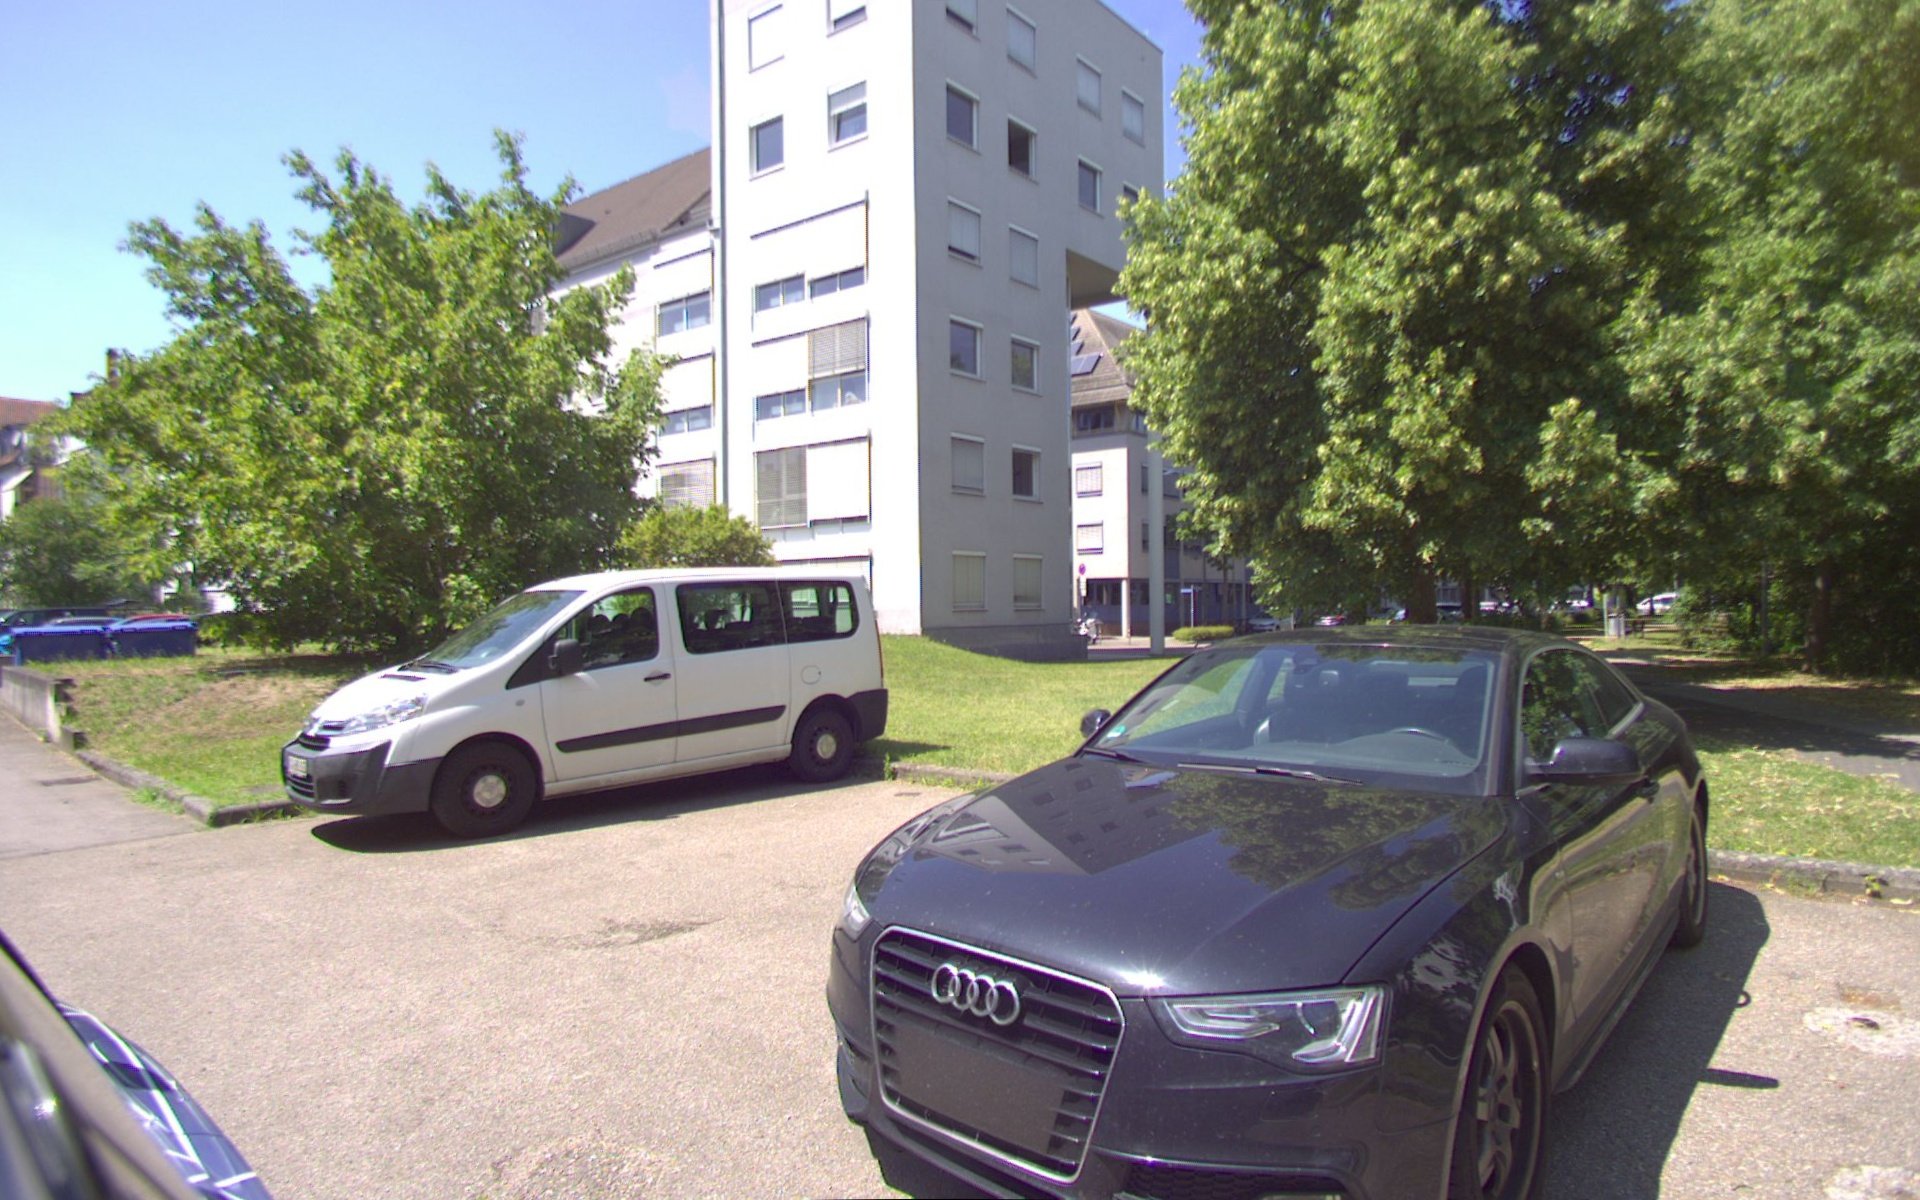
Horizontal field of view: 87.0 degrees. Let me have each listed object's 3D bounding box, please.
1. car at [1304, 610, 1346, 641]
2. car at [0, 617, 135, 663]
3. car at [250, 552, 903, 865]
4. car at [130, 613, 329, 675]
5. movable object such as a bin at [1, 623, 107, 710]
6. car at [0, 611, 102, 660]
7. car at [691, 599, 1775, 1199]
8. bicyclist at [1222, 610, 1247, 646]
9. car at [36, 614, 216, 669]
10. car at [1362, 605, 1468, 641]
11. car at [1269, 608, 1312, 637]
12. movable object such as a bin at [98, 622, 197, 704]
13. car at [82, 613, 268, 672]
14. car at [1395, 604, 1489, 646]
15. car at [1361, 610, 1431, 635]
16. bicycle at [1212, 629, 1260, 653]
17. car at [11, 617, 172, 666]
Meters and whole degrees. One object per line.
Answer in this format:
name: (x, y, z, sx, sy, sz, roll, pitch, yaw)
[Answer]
car: (20.423, 1.415, 56.616, 1.799, 1.615, 3.859, 0, 0, 26)
car: (-33.981, 1.476, 38.168, 1.610, 1.580, 4.173, 0, 0, 36)
car: (-2.929, 0.652, 8.601, 2.068, 1.897, 4.794, 0, 0, 44)
car: (-20.976, 1.203, 29.228, 1.610, 1.580, 4.392, 0, 0, 36)
movable object such as a bin: (-15.664, 1.120, 17.502, 1.095, 1.399, 1.255, 0, 0, 42)
car: (-36.574, 1.360, 39.663, 2.006, 1.837, 4.173, 0, 0, 36)
car: (1.480, 0.742, 3.767, 2.024, 1.390, 4.380, -3, -2, 43)
bicyclist: (8.294, 0.836, 30.598, 0.518, 1.053, 0.515, -5, -4, 44)
car: (-26.395, 1.263, 32.156, 1.610, 1.580, 4.173, 0, 0, 36)
car: (21.968, 1.081, 48.902, 4.337, 1.622, 1.908, 0, 0, 40)
car: (19.163, 1.261, 58.587, 1.799, 1.615, 3.859, 0, 0, 26)
movable object such as a bin: (-14.839, 1.117, 18.484, 1.095, 1.399, 1.255, 0, 0, 42)
car: (-23.504, 1.215, 30.444, 1.610, 1.580, 4.173, 0, 0, 36)
car: (24.540, 1.218, 51.600, 3.996, 2.029, 1.974, 0, 0, 40)
car: (28.812, 1.450, 66.921, 3.996, 1.541, 1.723, 0, 0, 40)
bicycle: (8.384, 1.232, 30.674, 0.734, 0.646, 1.594, -4, -3, 42)
car: (-31.304, 1.444, 36.586, 1.610, 1.580, 4.173, 0, 0, 36)
